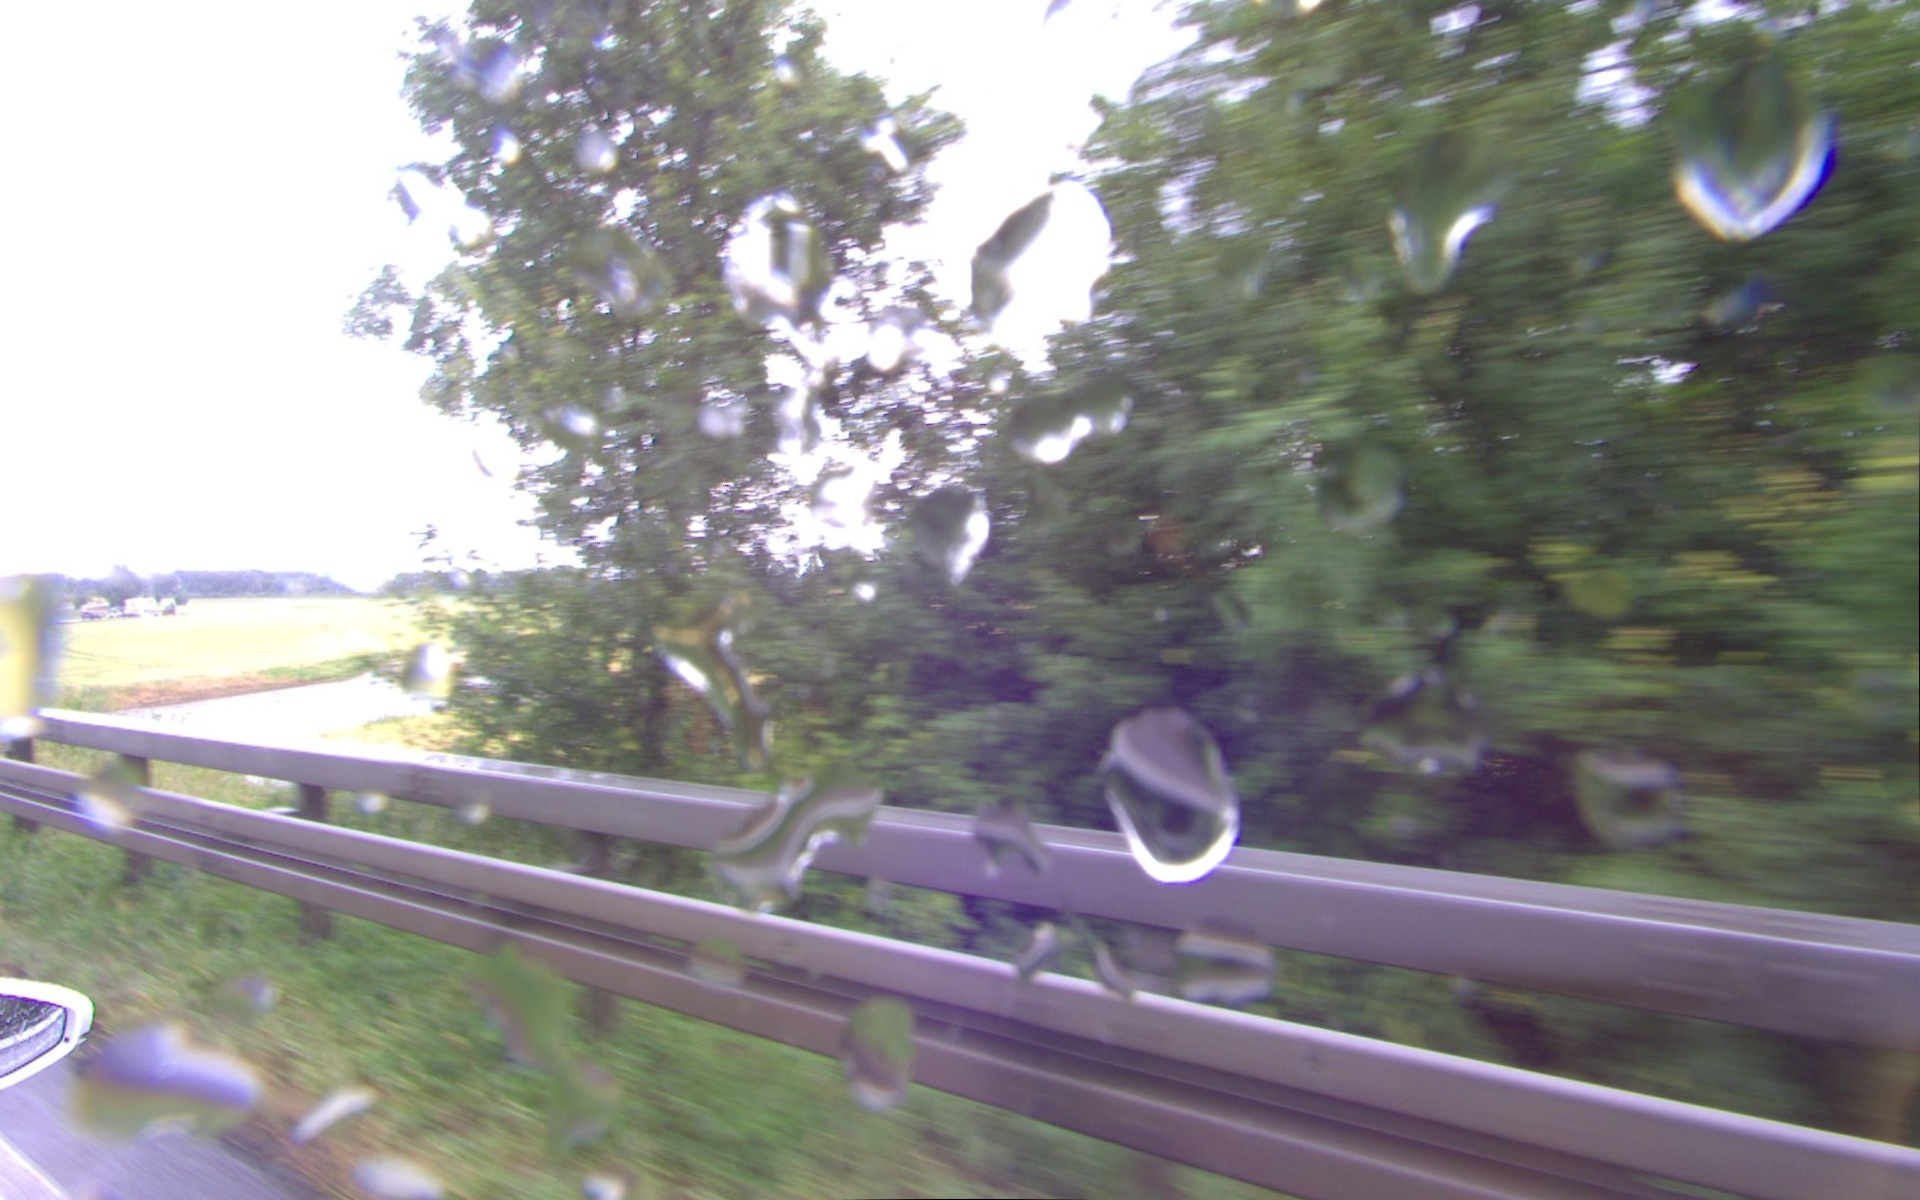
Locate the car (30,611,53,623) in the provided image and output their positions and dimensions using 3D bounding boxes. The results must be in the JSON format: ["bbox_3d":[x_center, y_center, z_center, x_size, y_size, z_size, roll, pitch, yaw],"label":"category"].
[{"bbox_3d":[-164.406,3.094,179.239,1.969,2.039,3.985,0,-2,-26],"label":"car"}]

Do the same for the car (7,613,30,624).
[{"bbox_3d":[-161.501,3.139,171.721,1.797,1.861,3.972,0,-2,-27],"label":"car"}]
